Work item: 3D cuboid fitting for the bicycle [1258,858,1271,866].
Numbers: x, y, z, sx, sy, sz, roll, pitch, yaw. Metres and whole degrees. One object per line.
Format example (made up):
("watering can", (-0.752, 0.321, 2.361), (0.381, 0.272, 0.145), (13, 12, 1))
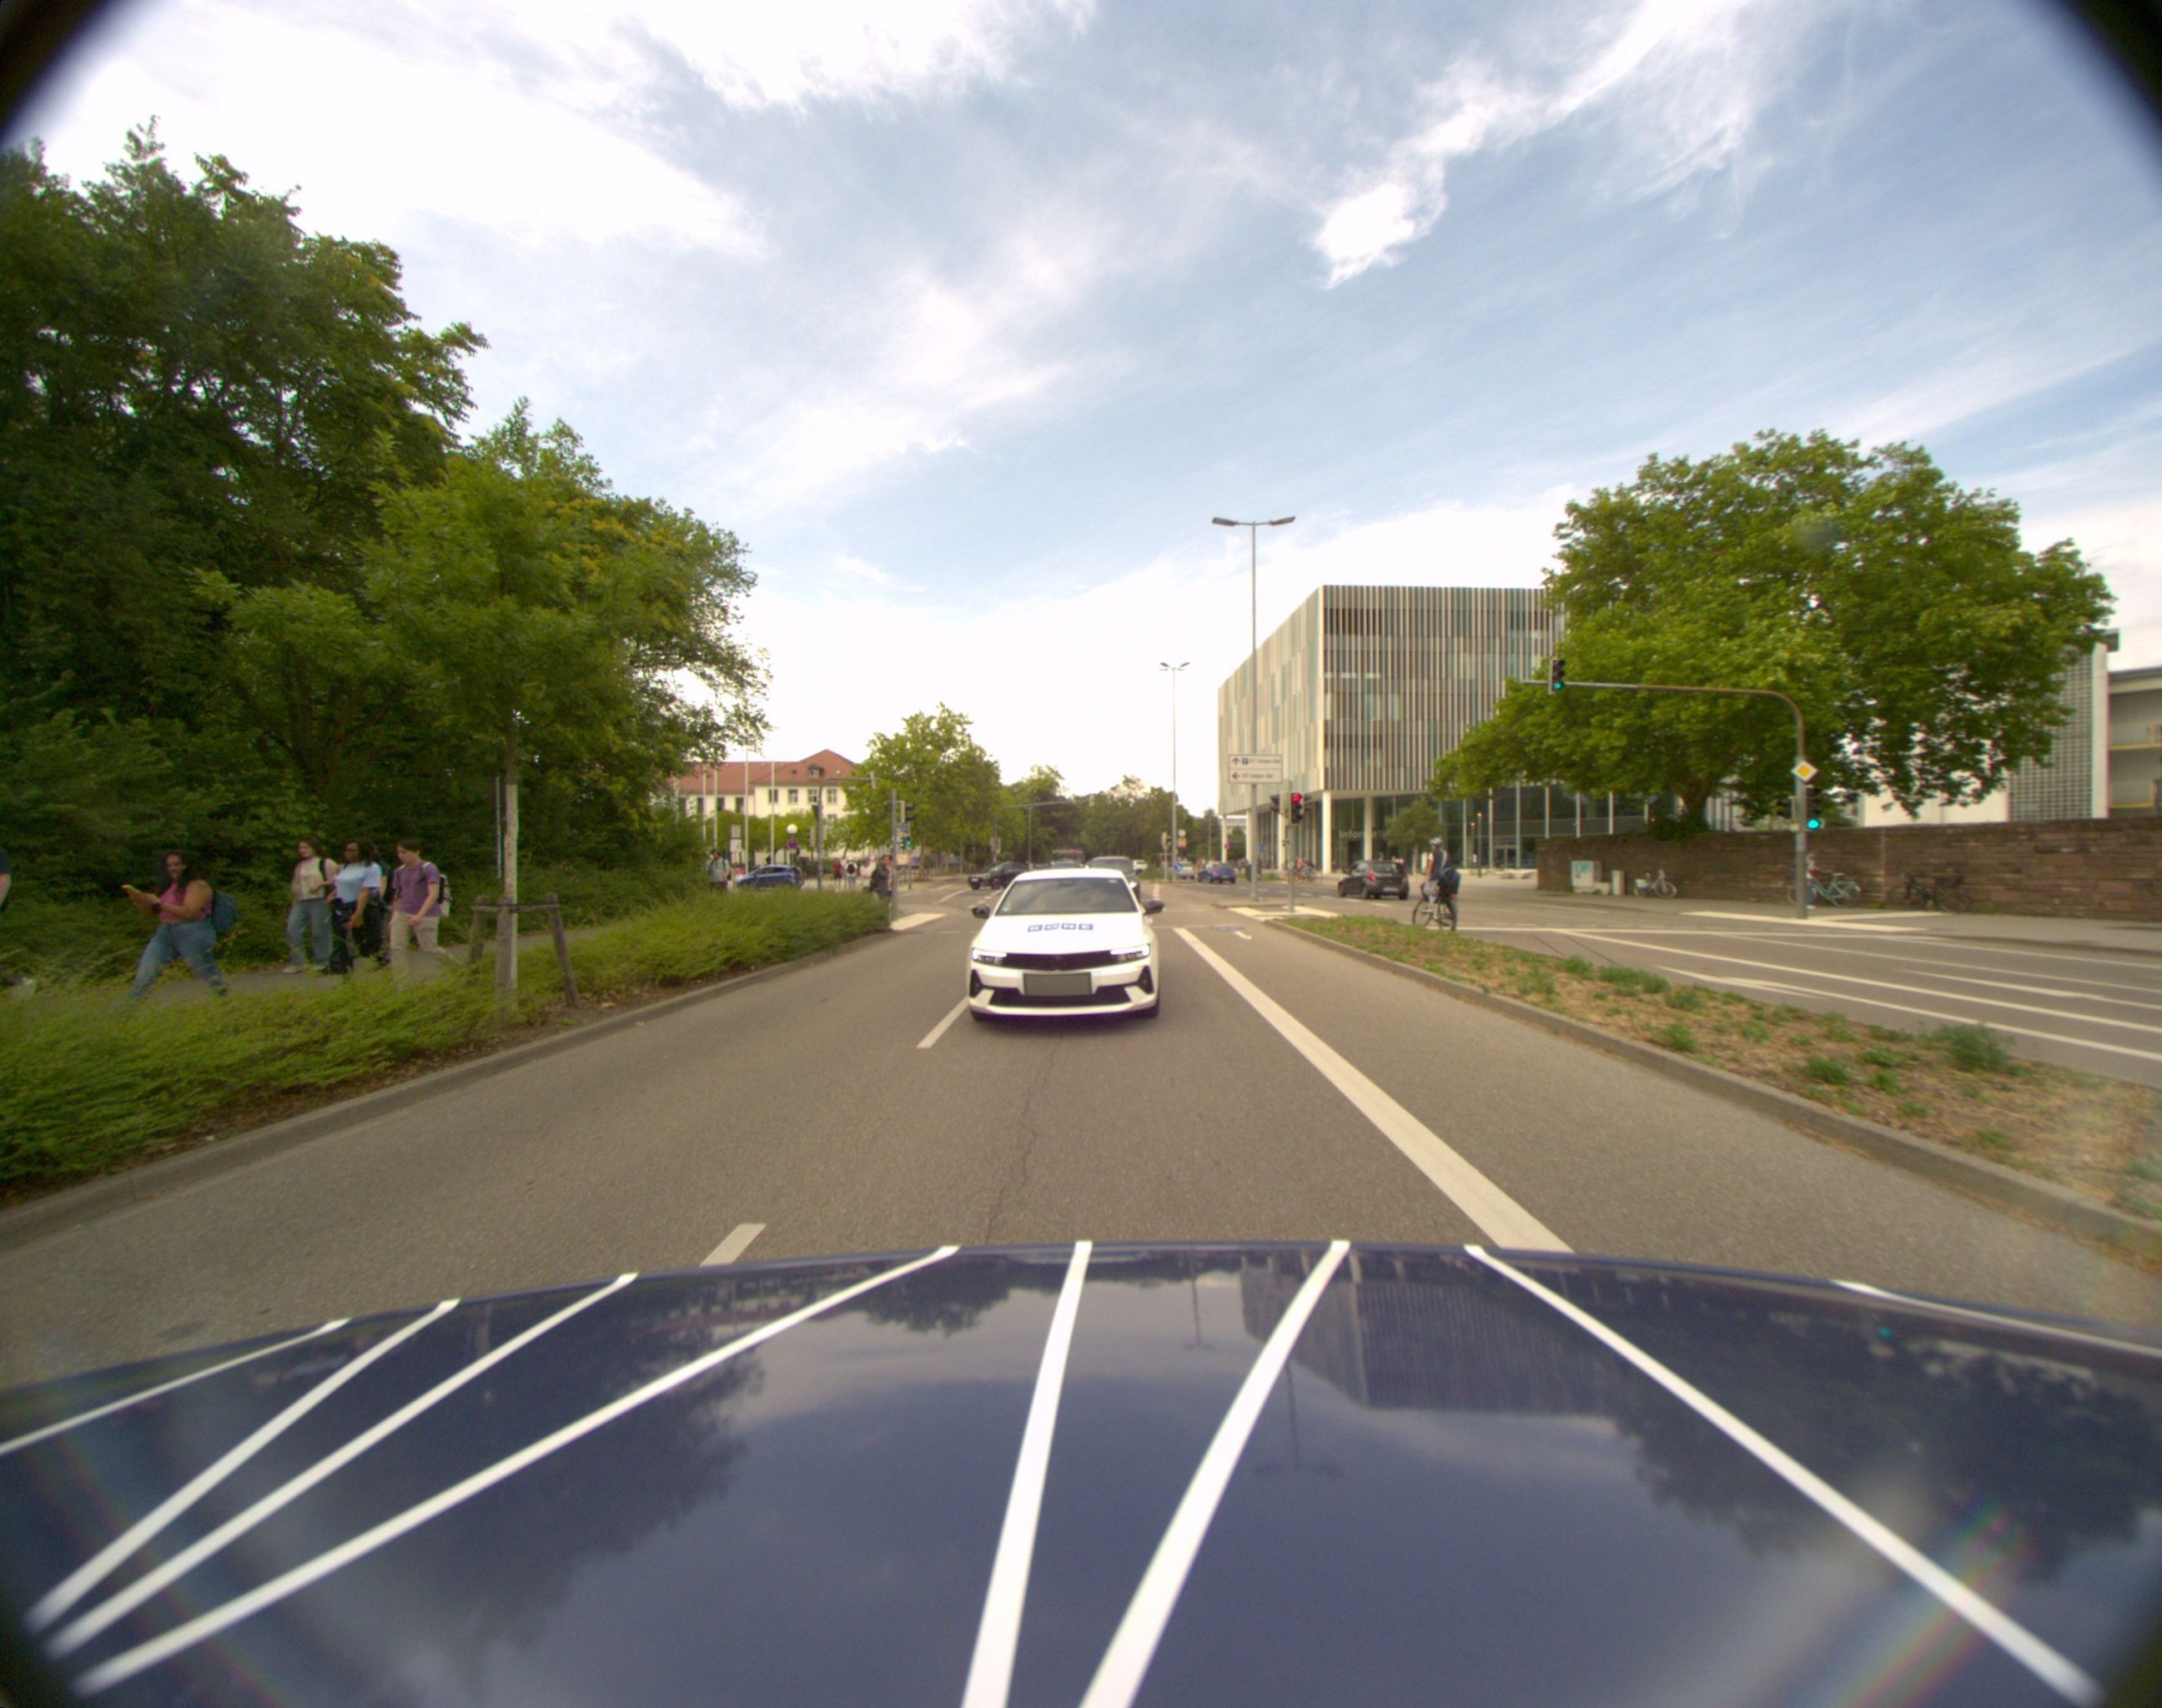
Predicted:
("bicycle", (23.253, 0.995, 96.144), (1.582, 1.017, 0.389), (-2, 1, -7))

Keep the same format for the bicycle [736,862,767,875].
("bicycle", (-29.947, 1.330, 69.090), (2.472, 1.136, 0.718), (-1, 0, 0))

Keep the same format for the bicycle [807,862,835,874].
("bicycle", (-24.803, 1.314, 72.493), (2.472, 1.136, 0.718), (-1, 0, 0))

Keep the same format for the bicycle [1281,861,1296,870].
("bicycle", (23.282, 1.277, 85.389), (1.546, 0.989, 0.399), (-2, 1, -6))

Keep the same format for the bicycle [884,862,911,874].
("bicycle", (-17.827, 1.313, 73.776), (2.472, 1.136, 0.718), (-1, 0, 0))

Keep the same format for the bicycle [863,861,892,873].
("bicycle", (-18.584, 1.178, 69.370), (2.472, 1.136, 0.718), (-1, 0, 0))

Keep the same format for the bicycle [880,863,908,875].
("bicycle", (-17.656, 1.399, 71.884), (2.472, 1.136, 0.718), (-1, 0, 0))

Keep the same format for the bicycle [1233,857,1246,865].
("bicycle", (22.732, 1.011, 109.115), (1.704, 1.017, 0.434), (-2, 1, -7))

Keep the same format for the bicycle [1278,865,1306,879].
("bicycle", (15.513, 1.323, 55.910), (1.823, 0.983, 0.727), (-2, 1, -16))

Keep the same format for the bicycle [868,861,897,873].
("bicycle", (-18.486, 1.201, 70.847), (2.472, 1.136, 0.718), (-1, 0, 0))

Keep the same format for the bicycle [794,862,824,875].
("bicycle", (-24.775, 1.289, 69.229), (2.472, 1.136, 0.718), (-1, 0, 0))

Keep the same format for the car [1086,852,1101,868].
("car", (1.561, 0.720, 94.792), (1.839, 2.002, 4.000), (0, 0, 1))

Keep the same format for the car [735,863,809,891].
("car", (-17.884, 1.307, 44.037), (3.581, 1.483, 1.674), (-1, 1, -2))

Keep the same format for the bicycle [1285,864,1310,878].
("bicycle", (15.424, 1.180, 54.114), (1.693, 0.983, 0.571), (0, 0, -16))

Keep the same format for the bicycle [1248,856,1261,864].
("bicycle", (22.958, 0.793, 100.751), (1.582, 1.017, 0.389), (-2, 1, -7))

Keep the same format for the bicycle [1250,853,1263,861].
("bicycle", (22.937, 0.435, 99.329), (1.582, 1.017, 0.389), (2, 1, -7))

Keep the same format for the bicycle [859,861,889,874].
("bicycle", (-18.484, 1.221, 67.877), (2.472, 1.136, 0.718), (-1, 0, 0))

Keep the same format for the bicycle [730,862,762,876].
("bicycle", (-29.931, 1.336, 67.893), (2.472, 1.136, 0.718), (-1, 0, 0))

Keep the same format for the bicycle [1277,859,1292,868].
("bicycle", (23.176, 1.104, 86.598), (1.546, 0.932, 0.389), (-2, 1, -7))

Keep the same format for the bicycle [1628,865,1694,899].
("bicycle", (20.681, 0.976, 27.162), (0.579, 1.119, 2.164), (-3, 0, -3))

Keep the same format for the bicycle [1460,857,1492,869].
("bicycle", (32.915, 0.754, 63.315), (2.685, 0.993, 0.672), (0, 0, -17))

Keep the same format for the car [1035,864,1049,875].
("car", (-4.832, 1.923, 95.316), (1.703, 1.361, 3.831), (0, 0, -2))

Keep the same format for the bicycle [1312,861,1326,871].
("bicycle", (23.635, 1.174, 75.567), (1.613, 0.932, 0.393), (-3, 1, -35))

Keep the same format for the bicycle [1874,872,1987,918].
("bicycle", (21.738, 1.013, 19.506), (0.550, 1.052, 1.980), (-3, 0, -5))

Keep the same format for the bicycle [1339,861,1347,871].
("bicycle", (25.146, 1.149, 72.925), (0.393, 0.932, 1.601), (-2, 0, 32))

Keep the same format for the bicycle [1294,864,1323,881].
("bicycle", (15.682, 1.289, 52.372), (1.897, 1.163, 0.606), (0, 0, -17))

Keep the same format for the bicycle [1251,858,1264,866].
("bicycle", (23.004, 1.046, 98.849), (1.582, 1.017, 0.389), (-2, 1, -7))

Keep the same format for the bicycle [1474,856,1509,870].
("bicycle", (33.252, 0.721, 61.515), (2.685, 1.083, 0.796), (0, 0, -17))

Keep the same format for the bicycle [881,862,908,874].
("bicycle", (-17.898, 1.320, 72.930), (2.472, 1.136, 0.718), (-1, 0, 0))

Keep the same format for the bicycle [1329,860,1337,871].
("bicycle", (24.469, 1.101, 73.697), (0.393, 0.932, 1.601), (-2, 0, 32))

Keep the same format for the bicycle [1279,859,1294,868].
("bicycle", (23.280, 1.105, 85.937), (1.546, 0.932, 0.394), (-2, 1, -7))

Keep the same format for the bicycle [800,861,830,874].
("bicycle", (-24.791, 1.279, 70.857), (2.472, 1.136, 0.718), (-1, 0, 0))

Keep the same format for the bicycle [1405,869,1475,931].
("bicycle", (6.702, 0.830, 14.281), (0.574, 1.049, 1.927), (0, 0, 5))

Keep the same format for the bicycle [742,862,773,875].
("bicycle", (-29.976, 1.324, 70.412), (2.472, 1.136, 0.718), (-1, 0, 0))

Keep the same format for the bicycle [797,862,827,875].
("bicycle", (-24.780, 1.322, 70.061), (2.472, 1.136, 0.718), (-1, 0, 0))

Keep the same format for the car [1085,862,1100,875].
("car", (1.355, 1.765, 94.468), (1.661, 1.455, 3.999), (2, 0, -1))
